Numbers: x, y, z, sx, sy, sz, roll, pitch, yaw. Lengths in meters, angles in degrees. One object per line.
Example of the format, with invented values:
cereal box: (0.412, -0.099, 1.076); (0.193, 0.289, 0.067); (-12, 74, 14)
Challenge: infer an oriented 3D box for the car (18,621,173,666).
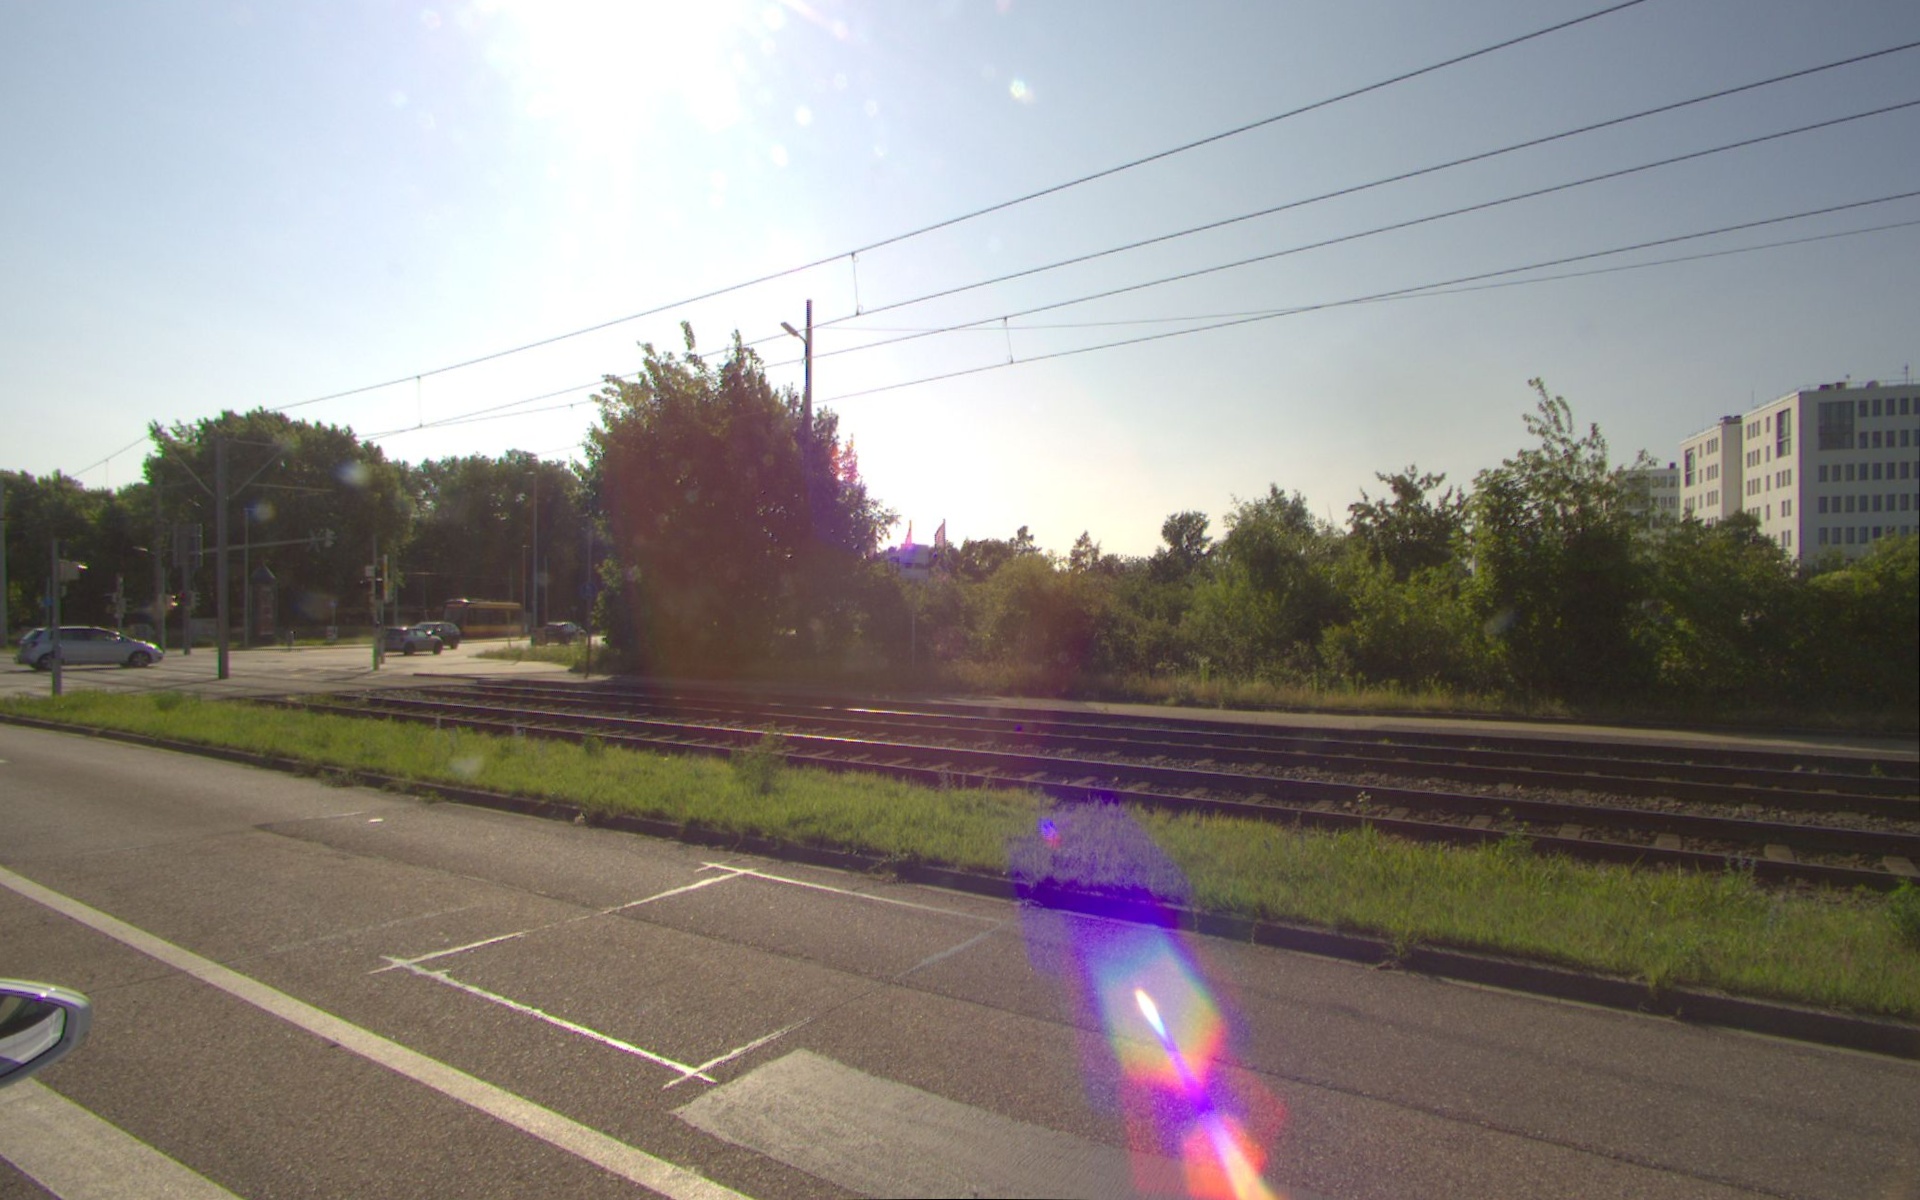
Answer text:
car: (-32.492, 1.582, 37.749); (1.832, 1.583, 4.175); (0, -1, 37)

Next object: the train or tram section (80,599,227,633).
train or tram section: (-88.985, 1.762, 110.807); (12.249, 3.626, 3.041); (0, -1, -27)

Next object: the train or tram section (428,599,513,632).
train or tram section: (-55.564, 1.753, 113.443); (12.061, 3.626, 3.037); (-1, -1, 34)

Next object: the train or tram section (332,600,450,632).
train or tram section: (-66.507, 1.891, 117.222); (11.992, 3.626, 3.054); (0, -1, -1)

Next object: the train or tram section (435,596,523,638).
train or tram section: (-44.470, 1.576, 93.206); (2.995, 3.626, 11.853); (0, -1, -3)

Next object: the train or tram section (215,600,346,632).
train or tram section: (-78.221, 1.866, 115.620); (12.027, 3.626, 3.045); (0, -1, -22)

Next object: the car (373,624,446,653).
car: (-28.282, 1.954, 51.566); (1.575, 1.401, 3.530); (0, -1, 5)

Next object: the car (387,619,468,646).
car: (-31.898, 1.929, 60.126); (2.005, 1.583, 4.863); (0, -1, 5)

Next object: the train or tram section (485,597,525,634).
train or tram section: (-47.656, 1.634, 104.611); (3.009, 3.626, 12.174); (0, -1, -28)

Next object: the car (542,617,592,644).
car: (-27.749, 2.133, 70.860); (1.617, 1.745, 4.622); (1, 0, 1)
